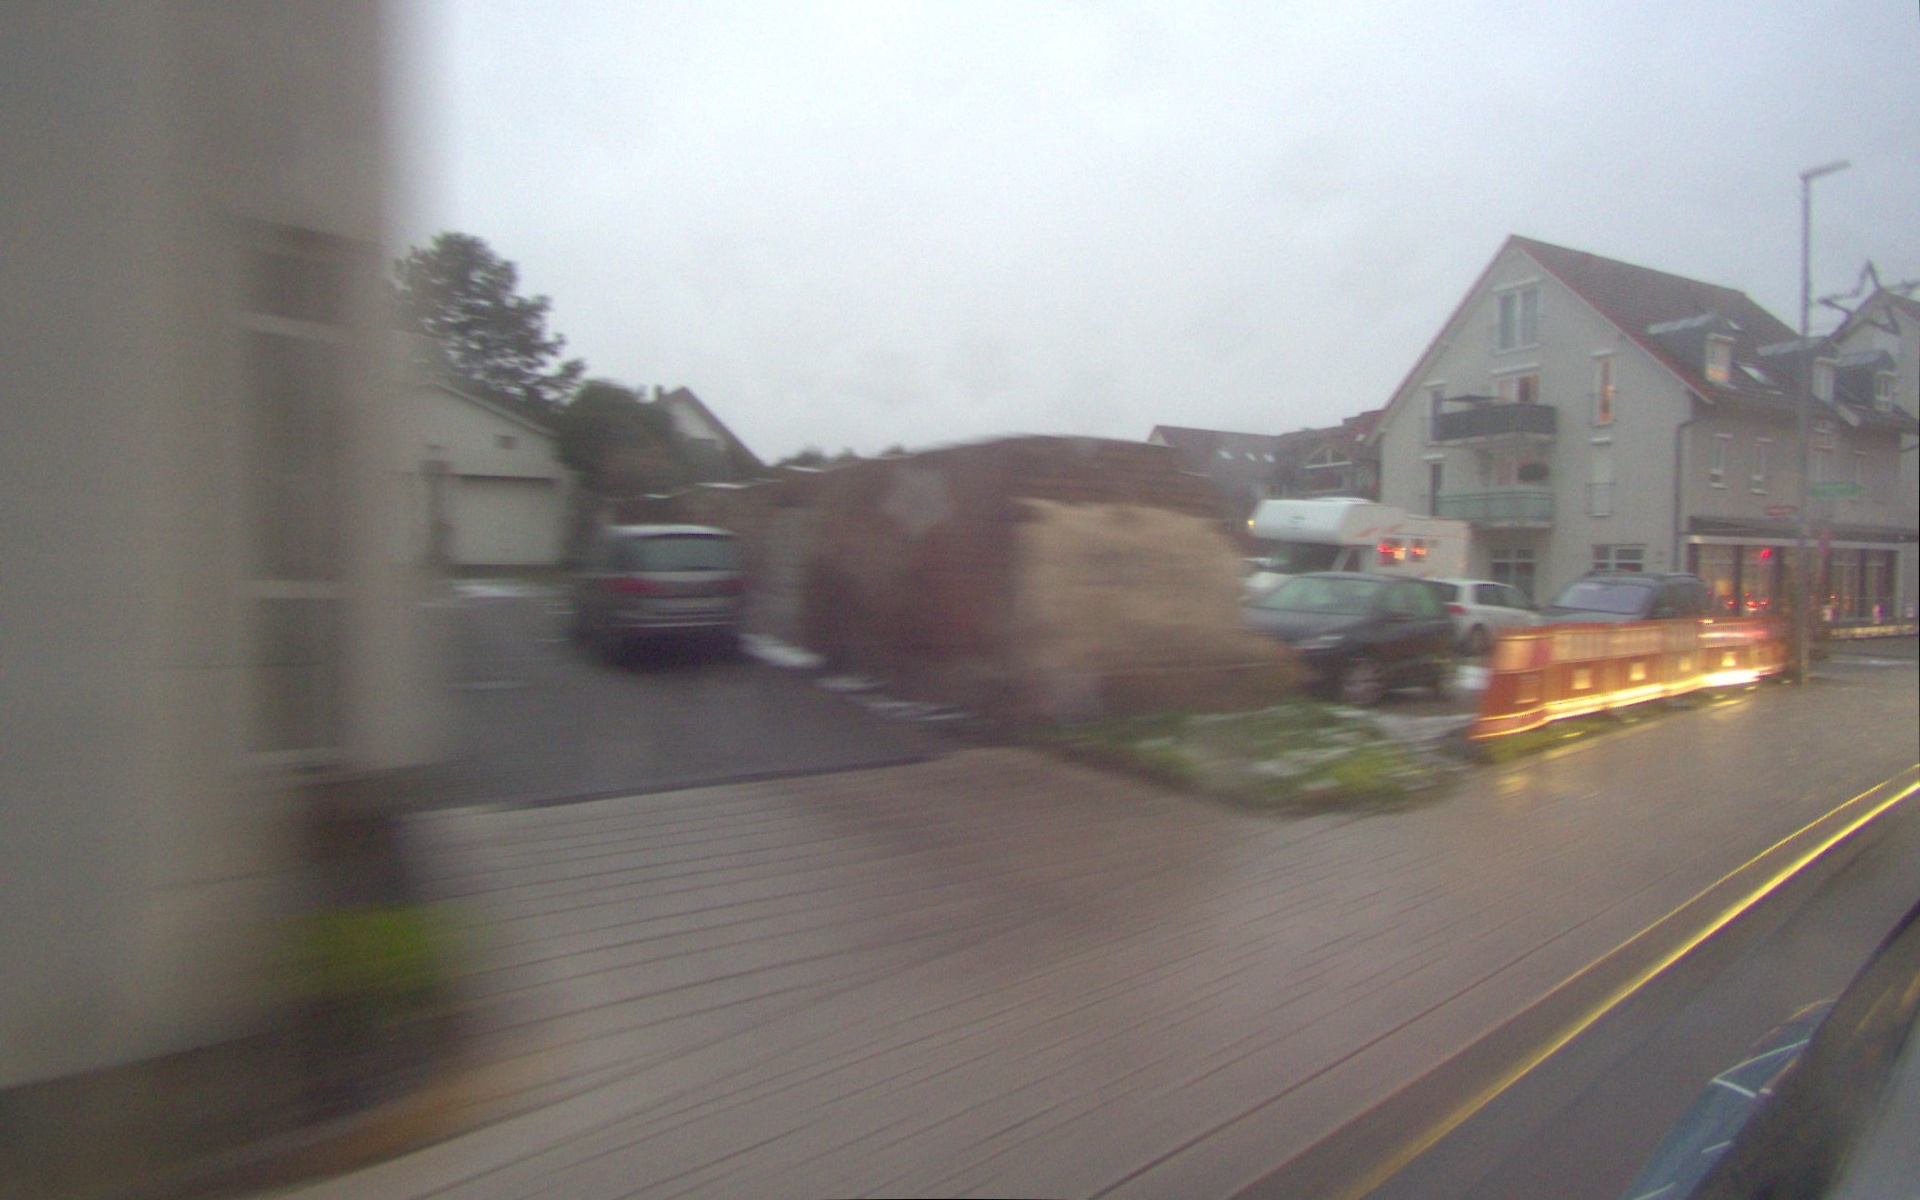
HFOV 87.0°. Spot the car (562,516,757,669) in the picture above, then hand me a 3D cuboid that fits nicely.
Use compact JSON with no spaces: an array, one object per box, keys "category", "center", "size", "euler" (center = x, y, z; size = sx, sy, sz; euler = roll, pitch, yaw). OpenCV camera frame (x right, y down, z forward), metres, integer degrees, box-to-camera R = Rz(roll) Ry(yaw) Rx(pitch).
[{"category":"car","center":[-3.864,-0.217,12.587],"size":[1.656,1.573,3.690],"euler":[0,5,-27]}]

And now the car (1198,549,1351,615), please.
[{"category":"car","center":[8.302,-0.448,26.611],"size":[3.925,1.528,1.801],"euler":[1,4,-36]}]

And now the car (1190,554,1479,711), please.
[{"category":"car","center":[4.428,0.332,11.686],"size":[1.782,1.424,3.695],"euler":[6,3,43]}]

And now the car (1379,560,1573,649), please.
[{"category":"car","center":[10.657,0.073,20.832],"size":[4.164,1.560,1.788],"euler":[1,5,-36]}]

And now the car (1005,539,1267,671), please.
[{"category":"car","center":[2.438,0.062,13.505],"size":[1.663,1.452,3.624],"euler":[6,3,43]}]

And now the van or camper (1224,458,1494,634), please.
[{"category":"van or camper","center":[9.425,-1.172,23.515],"size":[6.993,3.551,2.439],"euler":[1,4,-39]}]

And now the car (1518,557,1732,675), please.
[{"category":"car","center":[11.889,0.242,18.014],"size":[4.164,1.844,1.787],"euler":[1,2,-36]}]
